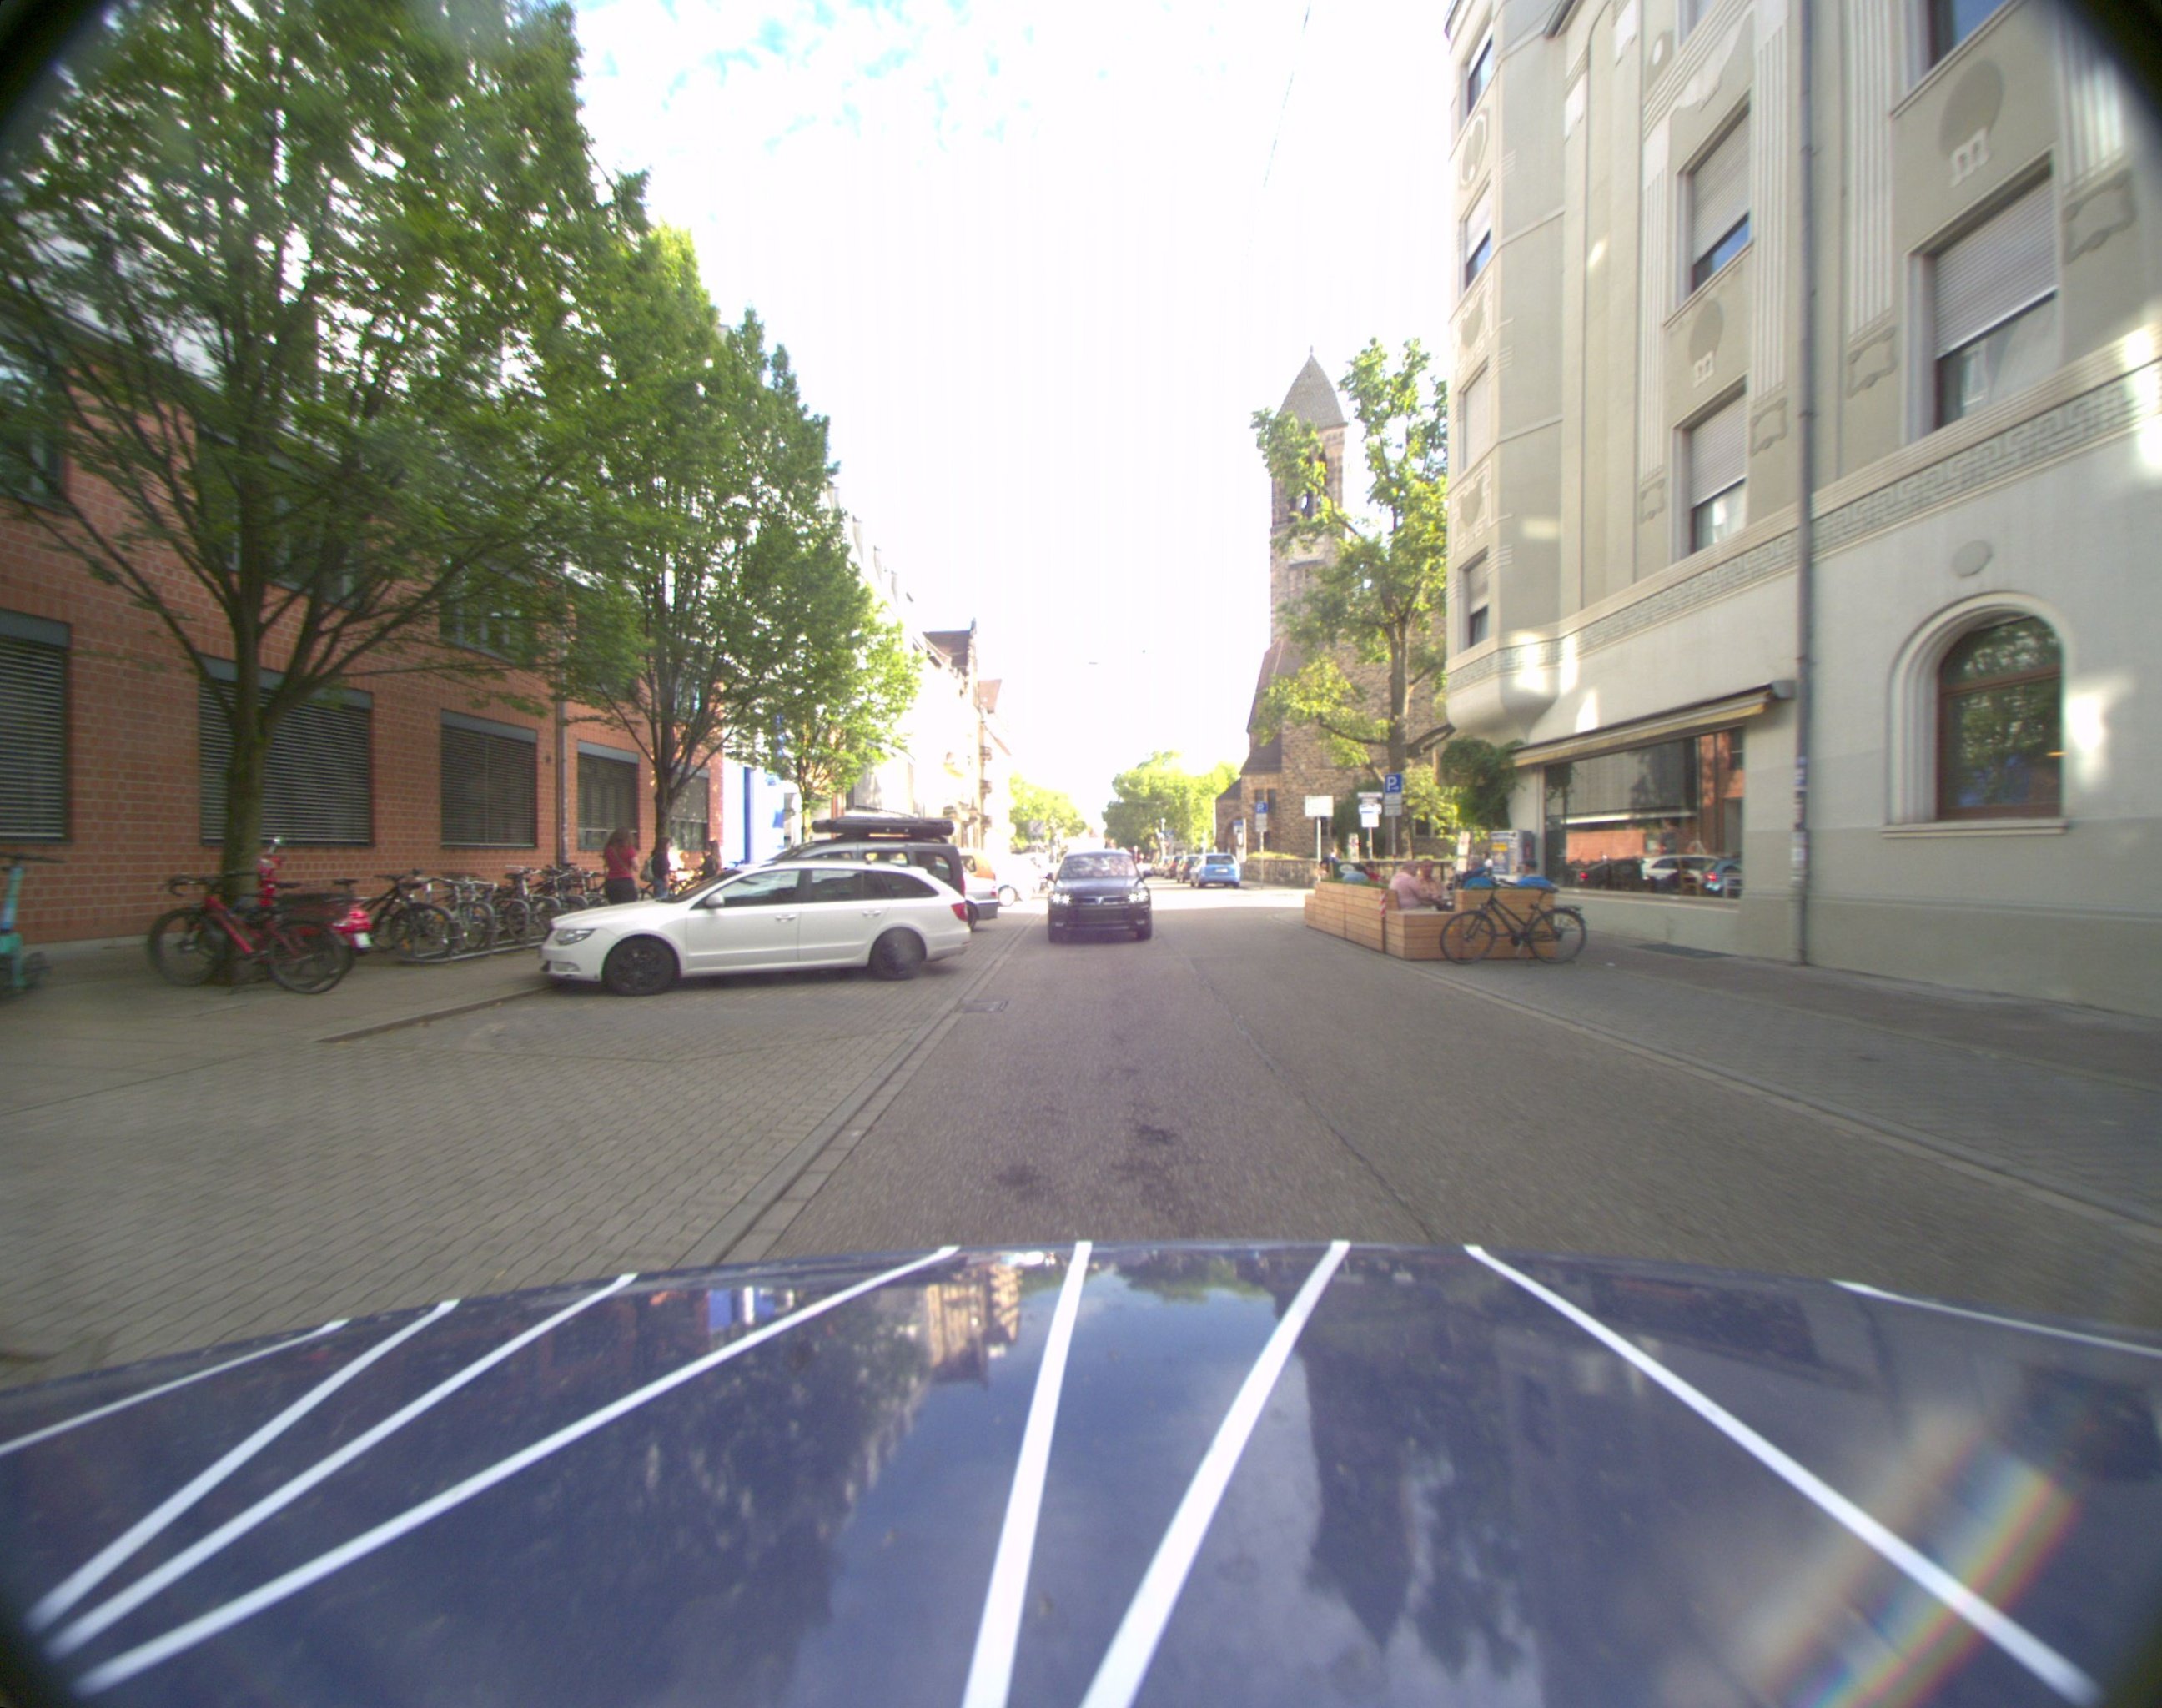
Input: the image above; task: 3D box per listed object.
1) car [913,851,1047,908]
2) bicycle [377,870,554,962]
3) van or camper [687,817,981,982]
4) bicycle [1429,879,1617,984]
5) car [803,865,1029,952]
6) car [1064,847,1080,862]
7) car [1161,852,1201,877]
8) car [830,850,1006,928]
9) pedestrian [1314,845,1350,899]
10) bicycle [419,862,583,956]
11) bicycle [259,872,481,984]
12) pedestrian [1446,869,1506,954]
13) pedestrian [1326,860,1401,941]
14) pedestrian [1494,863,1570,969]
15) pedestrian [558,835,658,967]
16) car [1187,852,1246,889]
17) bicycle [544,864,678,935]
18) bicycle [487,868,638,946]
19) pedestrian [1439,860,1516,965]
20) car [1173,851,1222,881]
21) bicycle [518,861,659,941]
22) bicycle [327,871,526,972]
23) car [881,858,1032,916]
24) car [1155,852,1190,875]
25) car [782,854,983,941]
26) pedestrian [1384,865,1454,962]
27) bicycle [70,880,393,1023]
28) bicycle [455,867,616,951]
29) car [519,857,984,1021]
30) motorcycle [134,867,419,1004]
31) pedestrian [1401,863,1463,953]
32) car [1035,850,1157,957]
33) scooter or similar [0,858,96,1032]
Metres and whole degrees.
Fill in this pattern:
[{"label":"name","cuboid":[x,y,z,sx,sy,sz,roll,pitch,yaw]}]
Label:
[{"label":"car","cuboid":[-3.405,0.805,25.702,4.006,1.663,1.923,-2,1,-31]},{"label":"bicycle","cuboid":[-8.195,0.812,10.160,1.887,1.112,0.537,2,1,-1]},{"label":"van or camper","cuboid":[-3.845,0.561,11.890,4.006,2.166,1.995,-2,1,-29]},{"label":"bicycle","cuboid":[5.372,0.928,9.311,1.872,1.168,0.688,-2,1,3]},{"label":"car","cuboid":[-3.218,0.983,15.027,4.006,1.391,1.657,-2,1,-31]},{"label":"car","cuboid":[-1.207,0.100,103.969,1.810,1.914,4.001,-3,0,2]},{"label":"car","cuboid":[5.930,0.595,45.419,1.911,1.412,4.000,-2,0,1]},{"label":"car","cuboid":[-4.203,0.823,19.660,4.006,1.751,1.908,-2,1,-31]},{"label":"pedestrian","cuboid":[8.210,0.578,24.896,0.845,1.699,0.879,-2,1,1]},{"label":"bicycle","cuboid":[-8.178,0.765,10.758,1.782,1.198,0.618,3,1,-1]},{"label":"bicycle","cuboid":[-8.199,0.838,8.817,1.921,1.134,0.618,3,1,-1]},{"label":"pedestrian","cuboid":[6.064,0.866,11.693,0.597,1.236,0.694,-1,1,8]},{"label":"pedestrian","cuboid":[5.038,0.817,13.624,1.088,1.365,0.895,-1,1,9]},{"label":"pedestrian","cuboid":[6.111,0.821,10.319,0.637,1.364,0.684,-2,1,5]},{"label":"pedestrian","cuboid":[-6.574,0.629,10.607,0.754,1.729,0.952,3,1,-3]},{"label":"car","cuboid":[5.777,0.663,32.903,1.828,1.477,4.170,-2,0,1]},{"label":"bicycle","cuboid":[-8.196,0.788,13.301,1.896,1.106,0.618,3,1,-1]},{"label":"bicycle","cuboid":[-8.180,0.828,12.027,1.896,1.096,0.618,3,1,-1]},{"label":"pedestrian","cuboid":[5.426,0.777,10.435,0.689,1.365,0.739,-2,1,5]},{"label":"car","cuboid":[5.897,0.569,38.944,1.911,1.412,4.000,-2,0,1]},{"label":"bicycle","cuboid":[-8.181,0.762,12.669,1.896,1.198,0.618,3,1,-1]},{"label":"bicycle","cuboid":[-8.189,0.831,9.559,1.896,1.125,0.618,3,1,-1]},{"label":"car","cuboid":[-3.750,0.920,22.982,4.006,1.499,1.995,-2,1,-31]},{"label":"car","cuboid":[6.239,0.619,52.196,1.911,1.412,4.000,-2,0,1]},{"label":"car","cuboid":[-4.423,0.873,17.026,3.932,1.630,1.942,-2,1,-31]},{"label":"pedestrian","cuboid":[4.888,0.849,11.024,0.738,1.341,0.644,-2,1,4]},{"label":"bicycle","cuboid":[-7.751,0.858,7.010,2.025,1.089,0.820,4,1,0]},{"label":"bicycle","cuboid":[-8.144,0.813,11.394,1.896,1.113,0.618,3,1,-1]},{"label":"car","cuboid":[-3.813,0.870,9.349,4.816,1.535,1.866,1,1,-31]},{"label":"motorcycle","cuboid":[-8.210,0.807,7.828,1.984,1.220,0.827,3,1,-1]},{"label":"pedestrian","cuboid":[5.444,0.822,11.811,0.668,1.328,0.740,-2,1,8]},{"label":"car","cuboid":[0.415,0.772,14.187,1.874,1.644,4.388,-2,0,5]},{"label":"scooter or similar","cuboid":[-8.984,0.727,6.458,0.526,1.306,1.317,3,1,-44]}]
